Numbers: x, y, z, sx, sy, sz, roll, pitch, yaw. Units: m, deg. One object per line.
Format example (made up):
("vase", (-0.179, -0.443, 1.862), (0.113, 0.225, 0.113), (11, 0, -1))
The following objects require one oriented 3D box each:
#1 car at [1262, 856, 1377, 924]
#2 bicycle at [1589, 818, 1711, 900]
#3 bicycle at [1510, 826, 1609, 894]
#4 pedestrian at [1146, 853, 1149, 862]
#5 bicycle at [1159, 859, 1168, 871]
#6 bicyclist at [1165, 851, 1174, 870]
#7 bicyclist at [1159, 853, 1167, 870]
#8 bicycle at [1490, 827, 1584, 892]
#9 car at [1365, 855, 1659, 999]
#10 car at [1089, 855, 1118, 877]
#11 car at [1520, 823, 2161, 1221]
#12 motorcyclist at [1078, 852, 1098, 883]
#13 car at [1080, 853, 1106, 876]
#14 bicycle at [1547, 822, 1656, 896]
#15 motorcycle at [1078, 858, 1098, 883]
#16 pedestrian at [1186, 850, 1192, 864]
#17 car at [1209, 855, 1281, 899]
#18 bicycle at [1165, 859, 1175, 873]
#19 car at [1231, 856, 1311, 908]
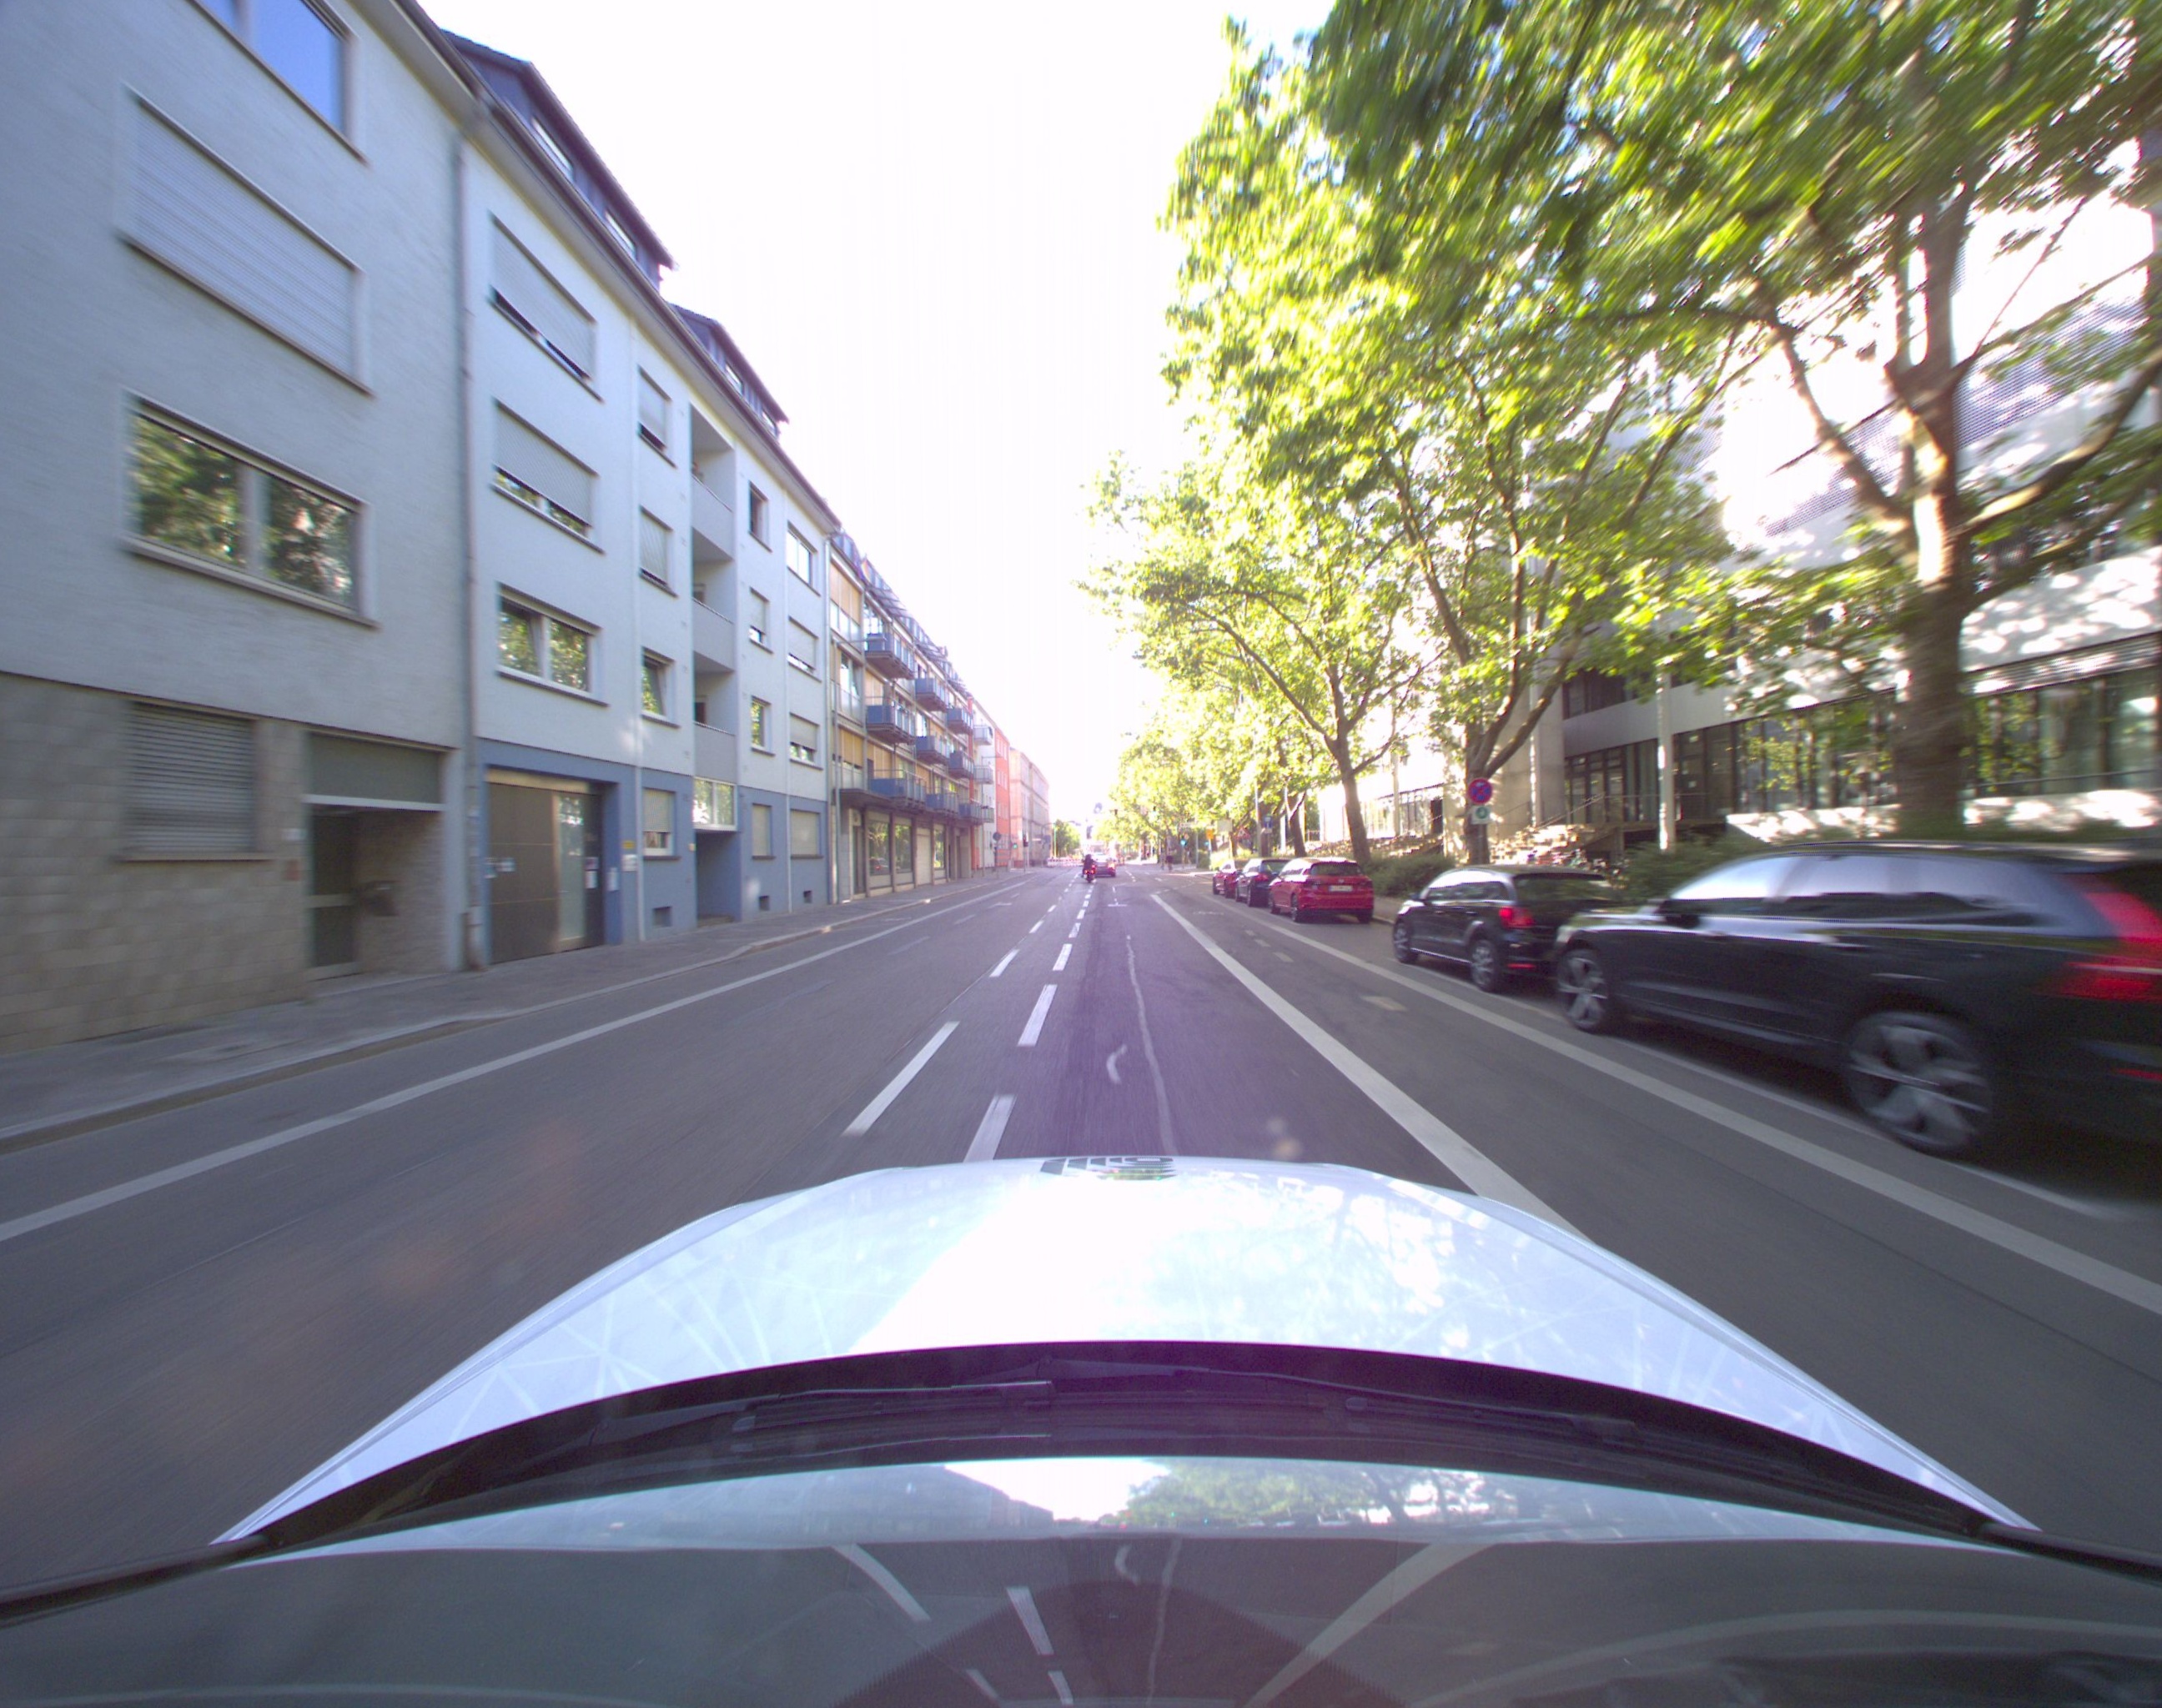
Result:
("car", (5.731, 0.795, 20.100), (1.686, 1.479, 4.320), (1, 0, 2))
("bicycle", (14.718, 0.130, 21.104), (2.588, 2.013, 0.743), (-1, 0, 1))
("bicycle", (14.782, 0.170, 25.209), (2.588, 2.013, 0.743), (-1, 0, 1))
("pedestrian", (11.626, 0.621, 141.955), (0.590, 1.578, 0.527), (0, -1, 1))
("bicycle", (7.638, 1.056, 75.849), (0.654, 1.111, 2.186), (0, -1, 1))
("bicyclist", (7.312, 0.542, 67.161), (0.654, 1.530, 0.852), (0, -1, 1))
("bicyclist", (7.639, 0.676, 75.913), (0.654, 1.530, 0.906), (0, -1, 1))
("bicycle", (14.743, 0.181, 26.377), (2.588, 2.013, 0.743), (-1, 0, 1))
("car", (5.270, 0.776, 10.631), (1.688, 1.503, 4.019), (1, 0, -1))
("car", (1.457, 0.756, 54.097), (1.822, 1.420, 3.815), (-1, 0, 1))
("car", (5.179, 0.706, 5.660), (1.770, 1.628, 4.620), (1, 0, 0))
("motorcyclist", (0.378, 0.719, 44.072), (1.008, 1.602, 1.406), (-1, 0, 1))
("car", (0.908, 0.799, 62.676), (1.627, 1.651, 3.844), (0, -1, -4))
("bicycle", (14.751, 0.150, 23.128), (2.588, 2.013, 0.743), (-1, 0, 1))
("motorcycle", (0.388, 0.874, 43.860), (1.008, 1.306, 2.673), (-1, 0, 1))
("pedestrian", (12.918, 0.366, 97.449), (0.618, 1.774, 0.576), (0, -1, 27))
("car", (5.899, 0.794, 29.810), (1.688, 1.449, 4.434), (1, 0, -1))
("bicycle", (7.311, 0.990, 67.093), (0.654, 1.070, 1.927), (0, -1, 1))
("car", (5.829, 0.801, 25.393), (1.686, 1.466, 4.068), (1, 0, 3))
